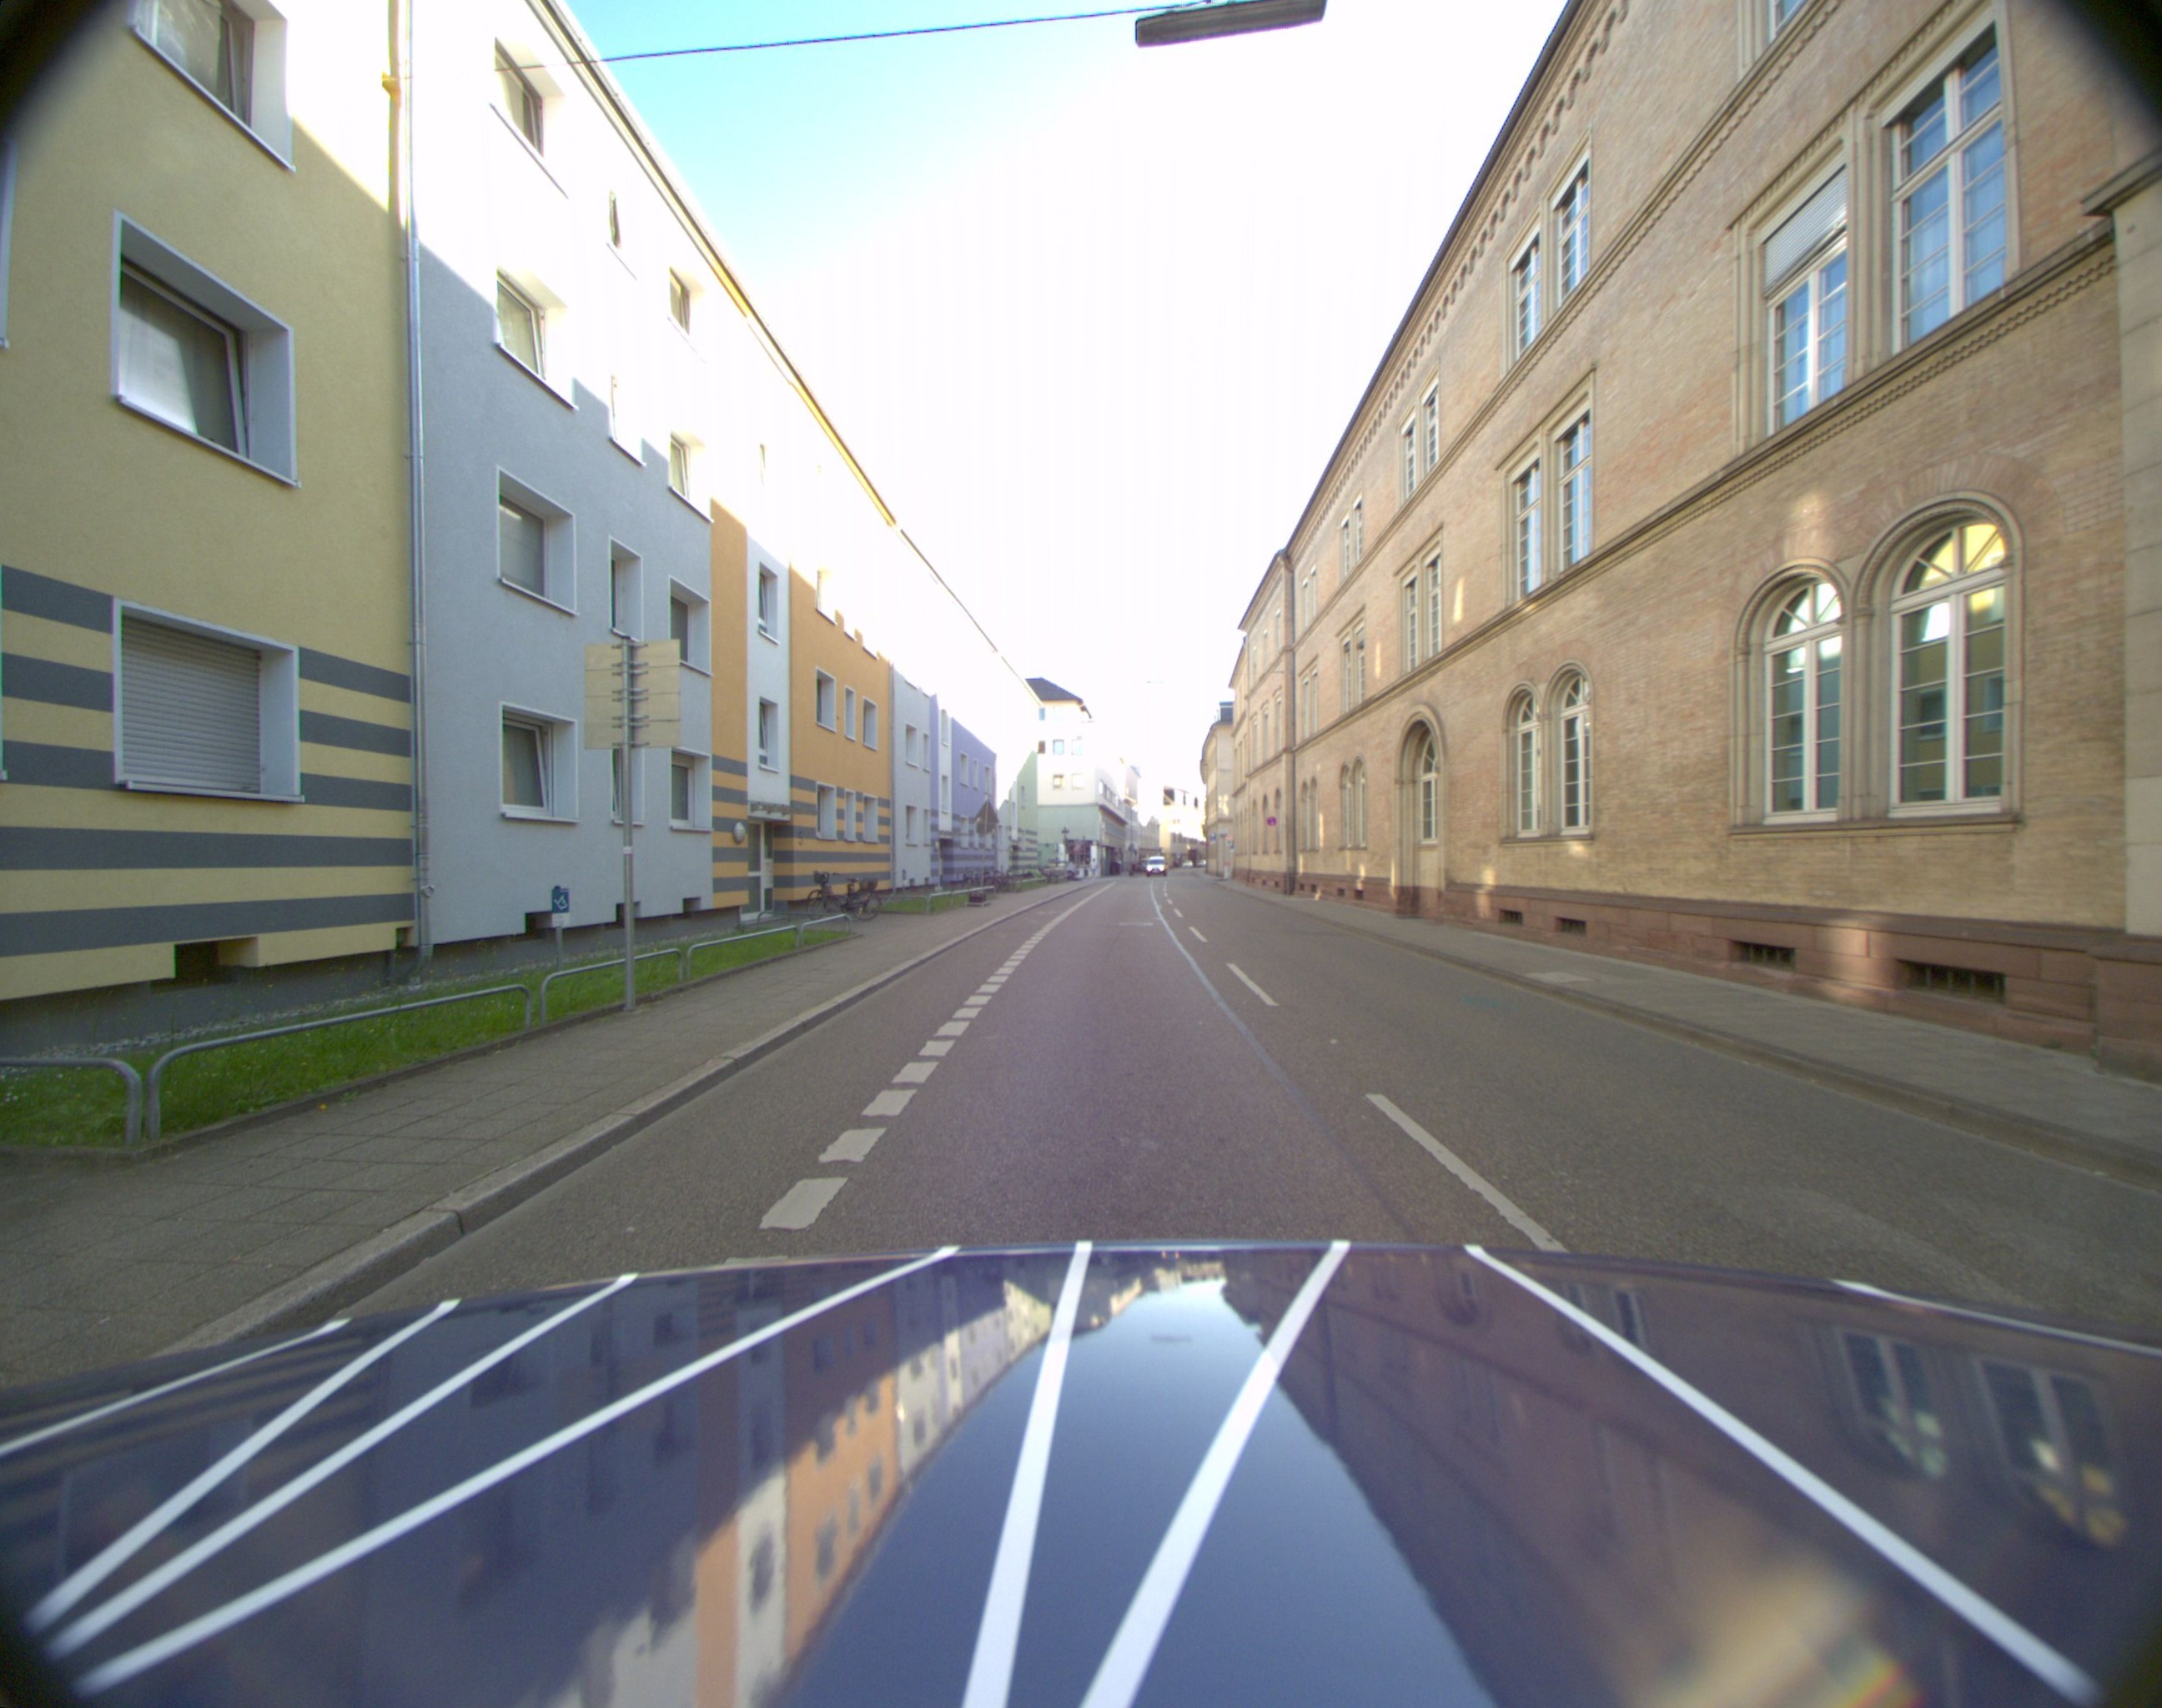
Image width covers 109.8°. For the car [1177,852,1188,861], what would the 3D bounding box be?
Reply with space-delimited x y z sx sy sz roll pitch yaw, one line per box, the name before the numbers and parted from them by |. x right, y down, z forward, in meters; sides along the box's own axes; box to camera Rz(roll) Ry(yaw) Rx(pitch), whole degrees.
car | 19.948 0.565 149.648 1.534 1.714 3.743 0 0 16

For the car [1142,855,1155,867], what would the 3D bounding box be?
car | 9.470 0.963 106.045 1.535 1.714 3.741 0 0 8

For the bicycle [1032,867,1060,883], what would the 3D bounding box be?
bicycle | -2.172 1.291 47.580 1.711 0.972 0.516 1 0 -2

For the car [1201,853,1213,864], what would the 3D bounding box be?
car | 19.917 0.760 120.198 1.662 1.714 3.743 0 0 14

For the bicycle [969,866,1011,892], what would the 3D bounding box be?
bicycle | -3.949 1.085 33.000 1.710 1.075 0.636 1 0 1

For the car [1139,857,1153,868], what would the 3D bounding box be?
car | 8.643 1.077 100.770 1.634 1.405 3.687 0 0 8

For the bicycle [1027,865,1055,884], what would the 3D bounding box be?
bicycle | -2.420 1.241 46.120 1.711 1.097 0.584 1 0 -2

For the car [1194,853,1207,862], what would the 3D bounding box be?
car | 25.735 0.748 163.681 1.925 1.714 4.236 0 0 19

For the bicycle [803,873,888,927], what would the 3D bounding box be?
bicycle | -5.290 1.024 17.105 1.711 1.152 0.636 1 0 -2

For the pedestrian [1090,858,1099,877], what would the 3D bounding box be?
pedestrian | 1.050 1.079 60.262 0.708 1.510 0.661 -1 0 -1

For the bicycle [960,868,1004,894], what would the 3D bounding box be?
bicycle | -4.151 1.124 31.858 1.710 1.039 0.636 1 0 2

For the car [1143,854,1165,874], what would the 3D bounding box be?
car | 6.692 0.905 69.302 1.922 1.712 4.962 0 0 6

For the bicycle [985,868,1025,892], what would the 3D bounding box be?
bicycle | -3.390 1.149 33.761 1.711 1.029 0.636 1 0 -2
